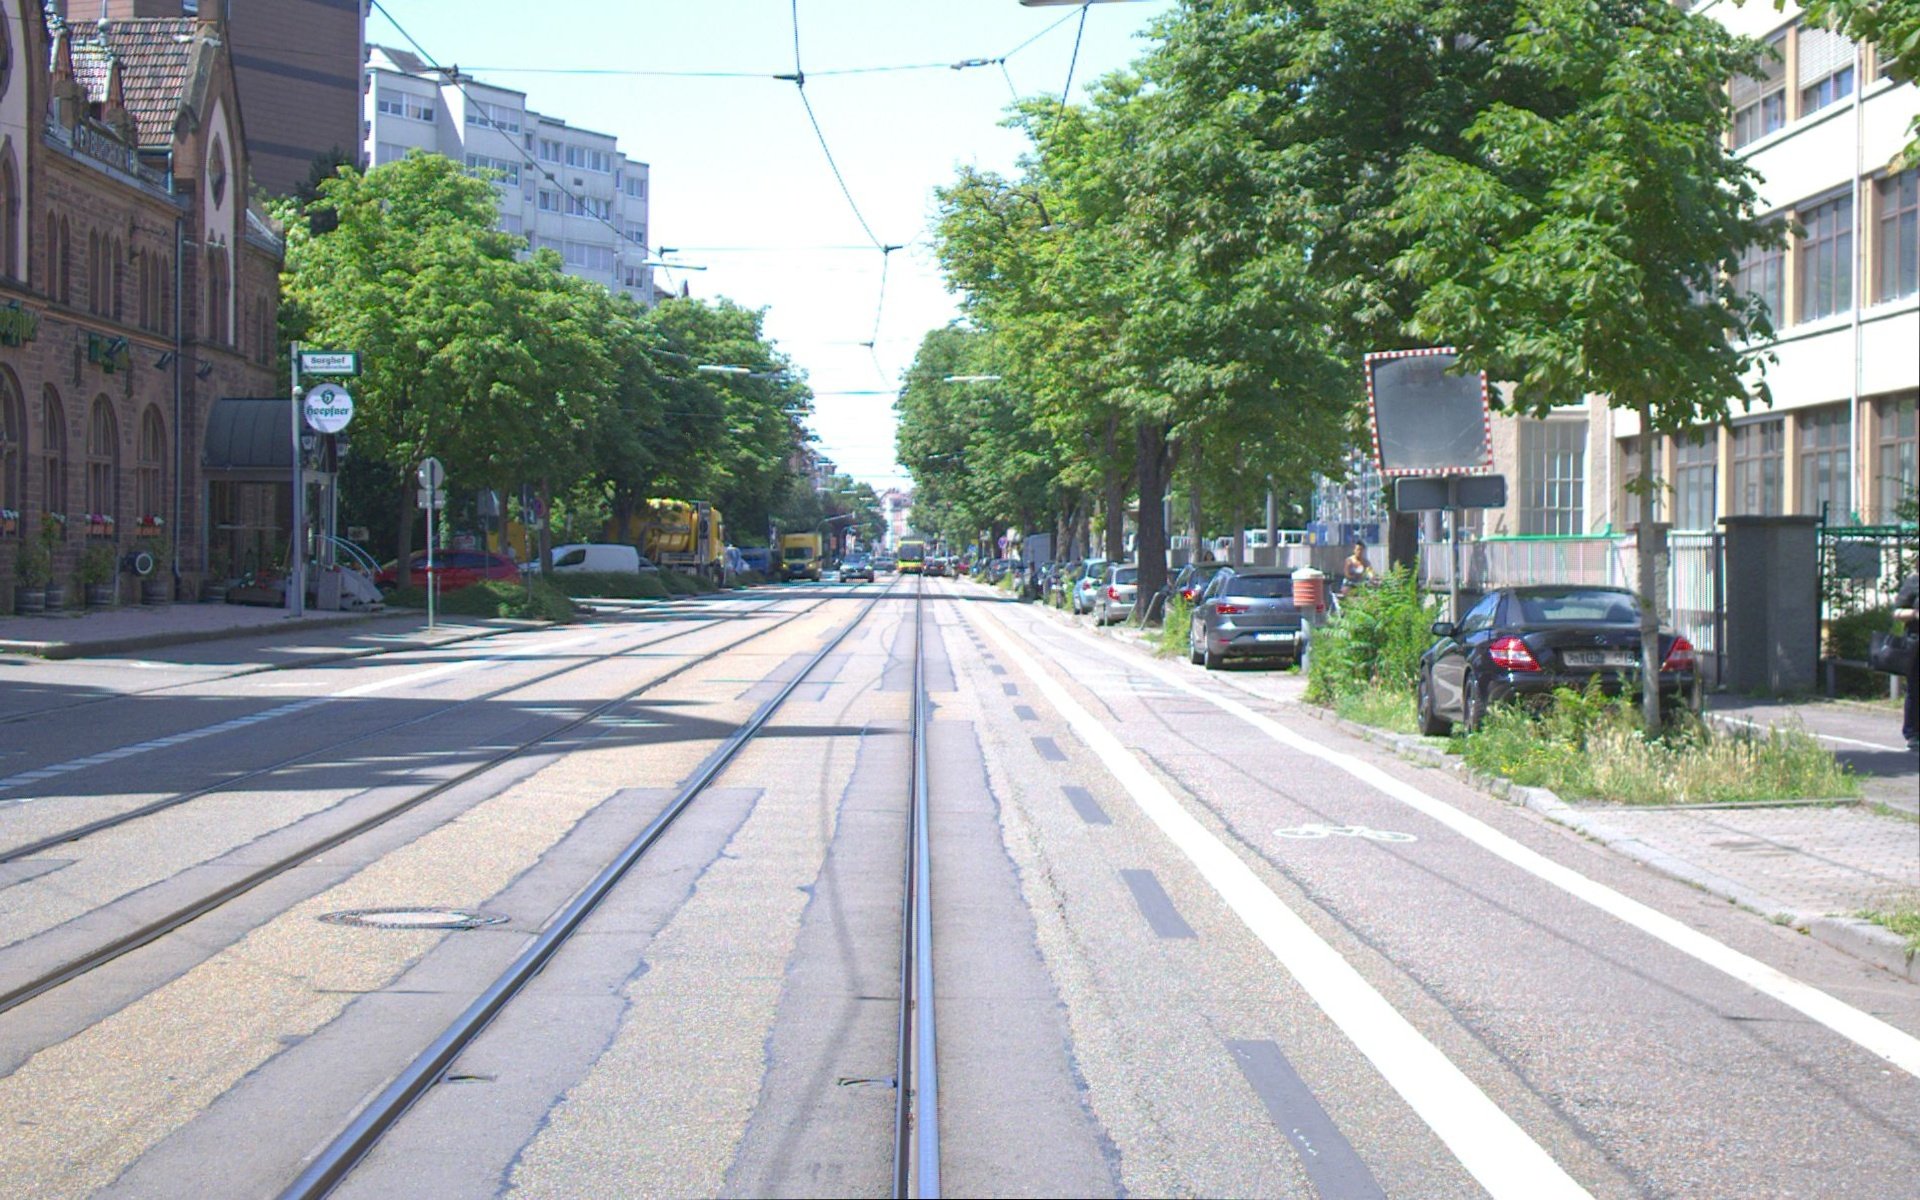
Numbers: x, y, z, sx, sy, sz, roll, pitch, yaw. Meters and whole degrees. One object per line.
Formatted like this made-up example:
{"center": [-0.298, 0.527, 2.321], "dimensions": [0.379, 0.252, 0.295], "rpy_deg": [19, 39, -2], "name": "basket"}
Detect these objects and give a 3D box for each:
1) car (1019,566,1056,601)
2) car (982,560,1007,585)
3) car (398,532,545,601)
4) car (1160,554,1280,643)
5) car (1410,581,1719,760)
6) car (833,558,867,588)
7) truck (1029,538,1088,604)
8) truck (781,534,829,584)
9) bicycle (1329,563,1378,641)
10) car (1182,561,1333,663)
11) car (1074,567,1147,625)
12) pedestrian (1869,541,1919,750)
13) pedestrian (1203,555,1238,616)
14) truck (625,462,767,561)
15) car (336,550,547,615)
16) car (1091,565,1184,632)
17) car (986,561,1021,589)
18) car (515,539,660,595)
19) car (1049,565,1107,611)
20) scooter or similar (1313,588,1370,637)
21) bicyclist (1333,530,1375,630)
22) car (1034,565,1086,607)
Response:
{"center": [3.472, -0.760, 153.857], "dimensions": [1.644, 1.529, 3.785], "rpy_deg": [0, 1, 1], "name": "car"}
{"center": [2.296, -1.789, 228.661], "dimensions": [1.592, 1.611, 3.908], "rpy_deg": [0, 0, -1], "name": "car"}
{"center": [-19.707, -1.327, 139.134], "dimensions": [2.182, 2.557, 6.712], "rpy_deg": [1, -1, 30], "name": "car"}
{"center": [4.475, -0.051, 59.624], "dimensions": [1.671, 1.484, 3.981], "rpy_deg": [0, 1, -1], "name": "car"}
{"center": [4.773, 0.516, 27.638], "dimensions": [1.751, 1.266, 3.833], "rpy_deg": [2, 1, 0], "name": "car"}
{"center": [-6.189, -1.554, 193.899], "dimensions": [1.831, 1.675, 4.184], "rpy_deg": [0, 1, 0], "name": "car"}
{"center": [3.809, -1.141, 134.303], "dimensions": [2.014, 2.480, 5.956], "rpy_deg": [0, 1, -1], "name": "truck"}
{"center": [-9.155, -2.409, 203.491], "dimensions": [2.360, 2.843, 7.378], "rpy_deg": [-1, 1, 1], "name": "truck"}
{"center": [6.564, 0.027, 57.435], "dimensions": [0.555, 1.261, 1.774], "rpy_deg": [-2, 1, 0], "name": "bicycle"}
{"center": [4.248, 0.140, 49.685], "dimensions": [1.671, 1.403, 4.749], "rpy_deg": [0, 1, -1], "name": "car"}
{"center": [4.042, -0.126, 92.878], "dimensions": [1.671, 1.512, 4.202], "rpy_deg": [0, 1, -1], "name": "car"}
{"center": [7.302, 0.333, 26.085], "dimensions": [0.618, 1.568, 0.611], "rpy_deg": [-1, 0, 0], "name": "pedestrian"}
{"center": [6.827, -0.382, 90.148], "dimensions": [0.799, 1.583, 0.919], "rpy_deg": [-1, 1, -1], "name": "pedestrian"}
{"center": [-11.203, -3.717, 147.220], "dimensions": [2.717, 3.829, 10.956], "rpy_deg": [2, 0, 14], "name": "truck"}
{"center": [-12.851, -0.434, 85.219], "dimensions": [4.764, 1.561, 2.002], "rpy_deg": [1, 0, -29], "name": "car"}
{"center": [4.099, -0.054, 79.930], "dimensions": [1.671, 1.494, 4.366], "rpy_deg": [0, 1, -4], "name": "car"}
{"center": [2.364, -1.335, 187.635], "dimensions": [1.639, 1.480, 3.873], "rpy_deg": [0, 0, -4], "name": "car"}
{"center": [-12.777, -1.140, 117.985], "dimensions": [4.533, 1.785, 1.901], "rpy_deg": [1, 1, -32], "name": "car"}
{"center": [3.852, -0.402, 112.875], "dimensions": [1.824, 1.466, 4.486], "rpy_deg": [0, 1, 1], "name": "car"}
{"center": [6.554, 0.211, 59.124], "dimensions": [0.761, 0.804, 1.556], "rpy_deg": [-2, 1, 0], "name": "scooter or similar"}
{"center": [6.566, -0.330, 57.338], "dimensions": [0.580, 1.642, 0.599], "rpy_deg": [-1, 1, -1], "name": "bicyclist"}
{"center": [3.614, -0.504, 123.643], "dimensions": [1.824, 1.466, 4.400], "rpy_deg": [0, 1, 2], "name": "car"}
